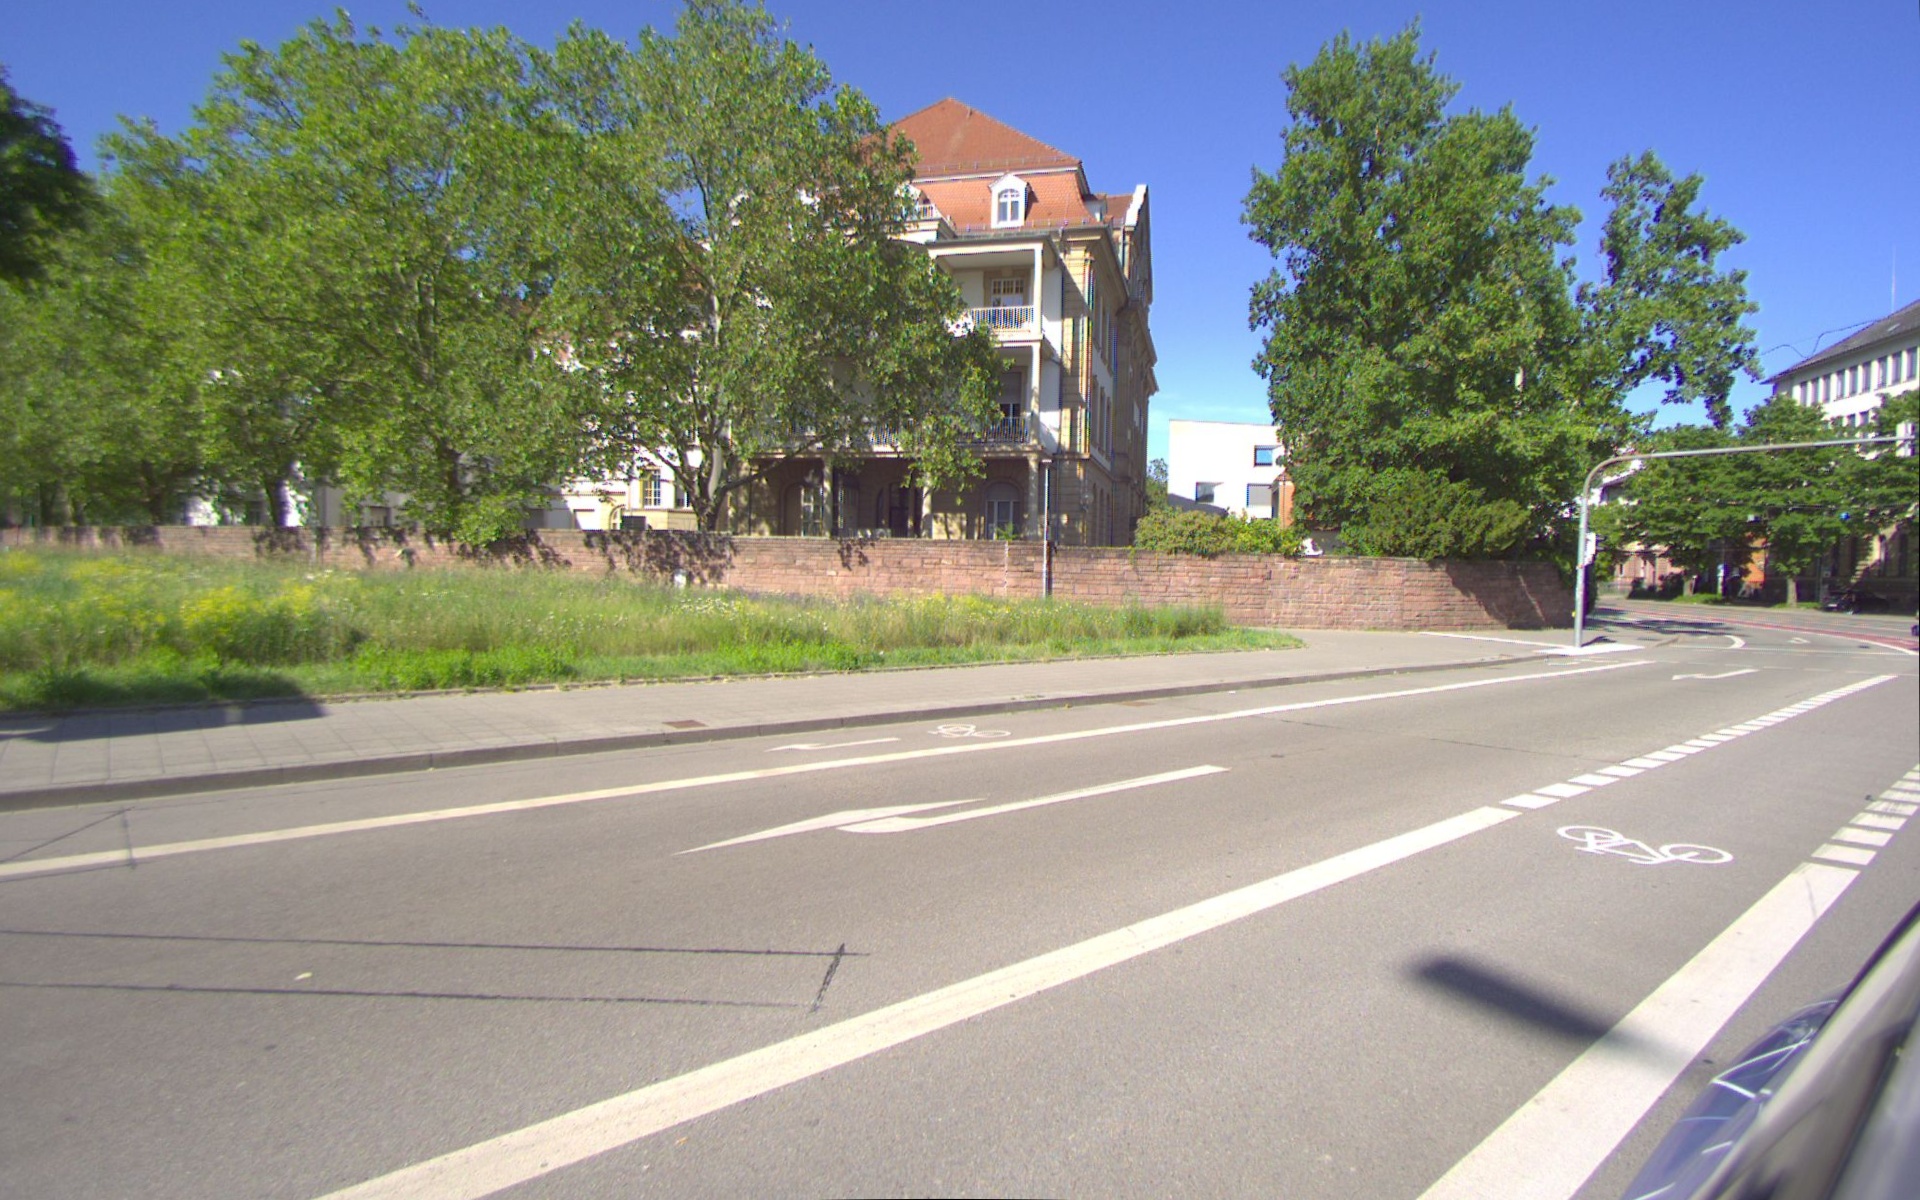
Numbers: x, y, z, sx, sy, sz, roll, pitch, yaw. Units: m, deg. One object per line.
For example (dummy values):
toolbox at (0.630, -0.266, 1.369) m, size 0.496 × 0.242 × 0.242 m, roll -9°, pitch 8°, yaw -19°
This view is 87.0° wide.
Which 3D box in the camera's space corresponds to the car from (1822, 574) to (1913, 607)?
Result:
car at (61.199, -0.646, 68.258) m, size 4.615 × 2.038 × 2.004 m, roll 1°, pitch 2°, yaw -9°

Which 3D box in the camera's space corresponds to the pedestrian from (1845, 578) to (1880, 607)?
pedestrian at (59.652, -0.522, 66.879) m, size 1.366 × 1.844 × 0.937 m, roll 1°, pitch 1°, yaw 4°

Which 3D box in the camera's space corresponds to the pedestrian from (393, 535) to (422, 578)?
pedestrian at (-19.218, -1.508, 35.198) m, size 0.516 × 1.461 × 0.721 m, roll 0°, pitch 0°, yaw 20°
